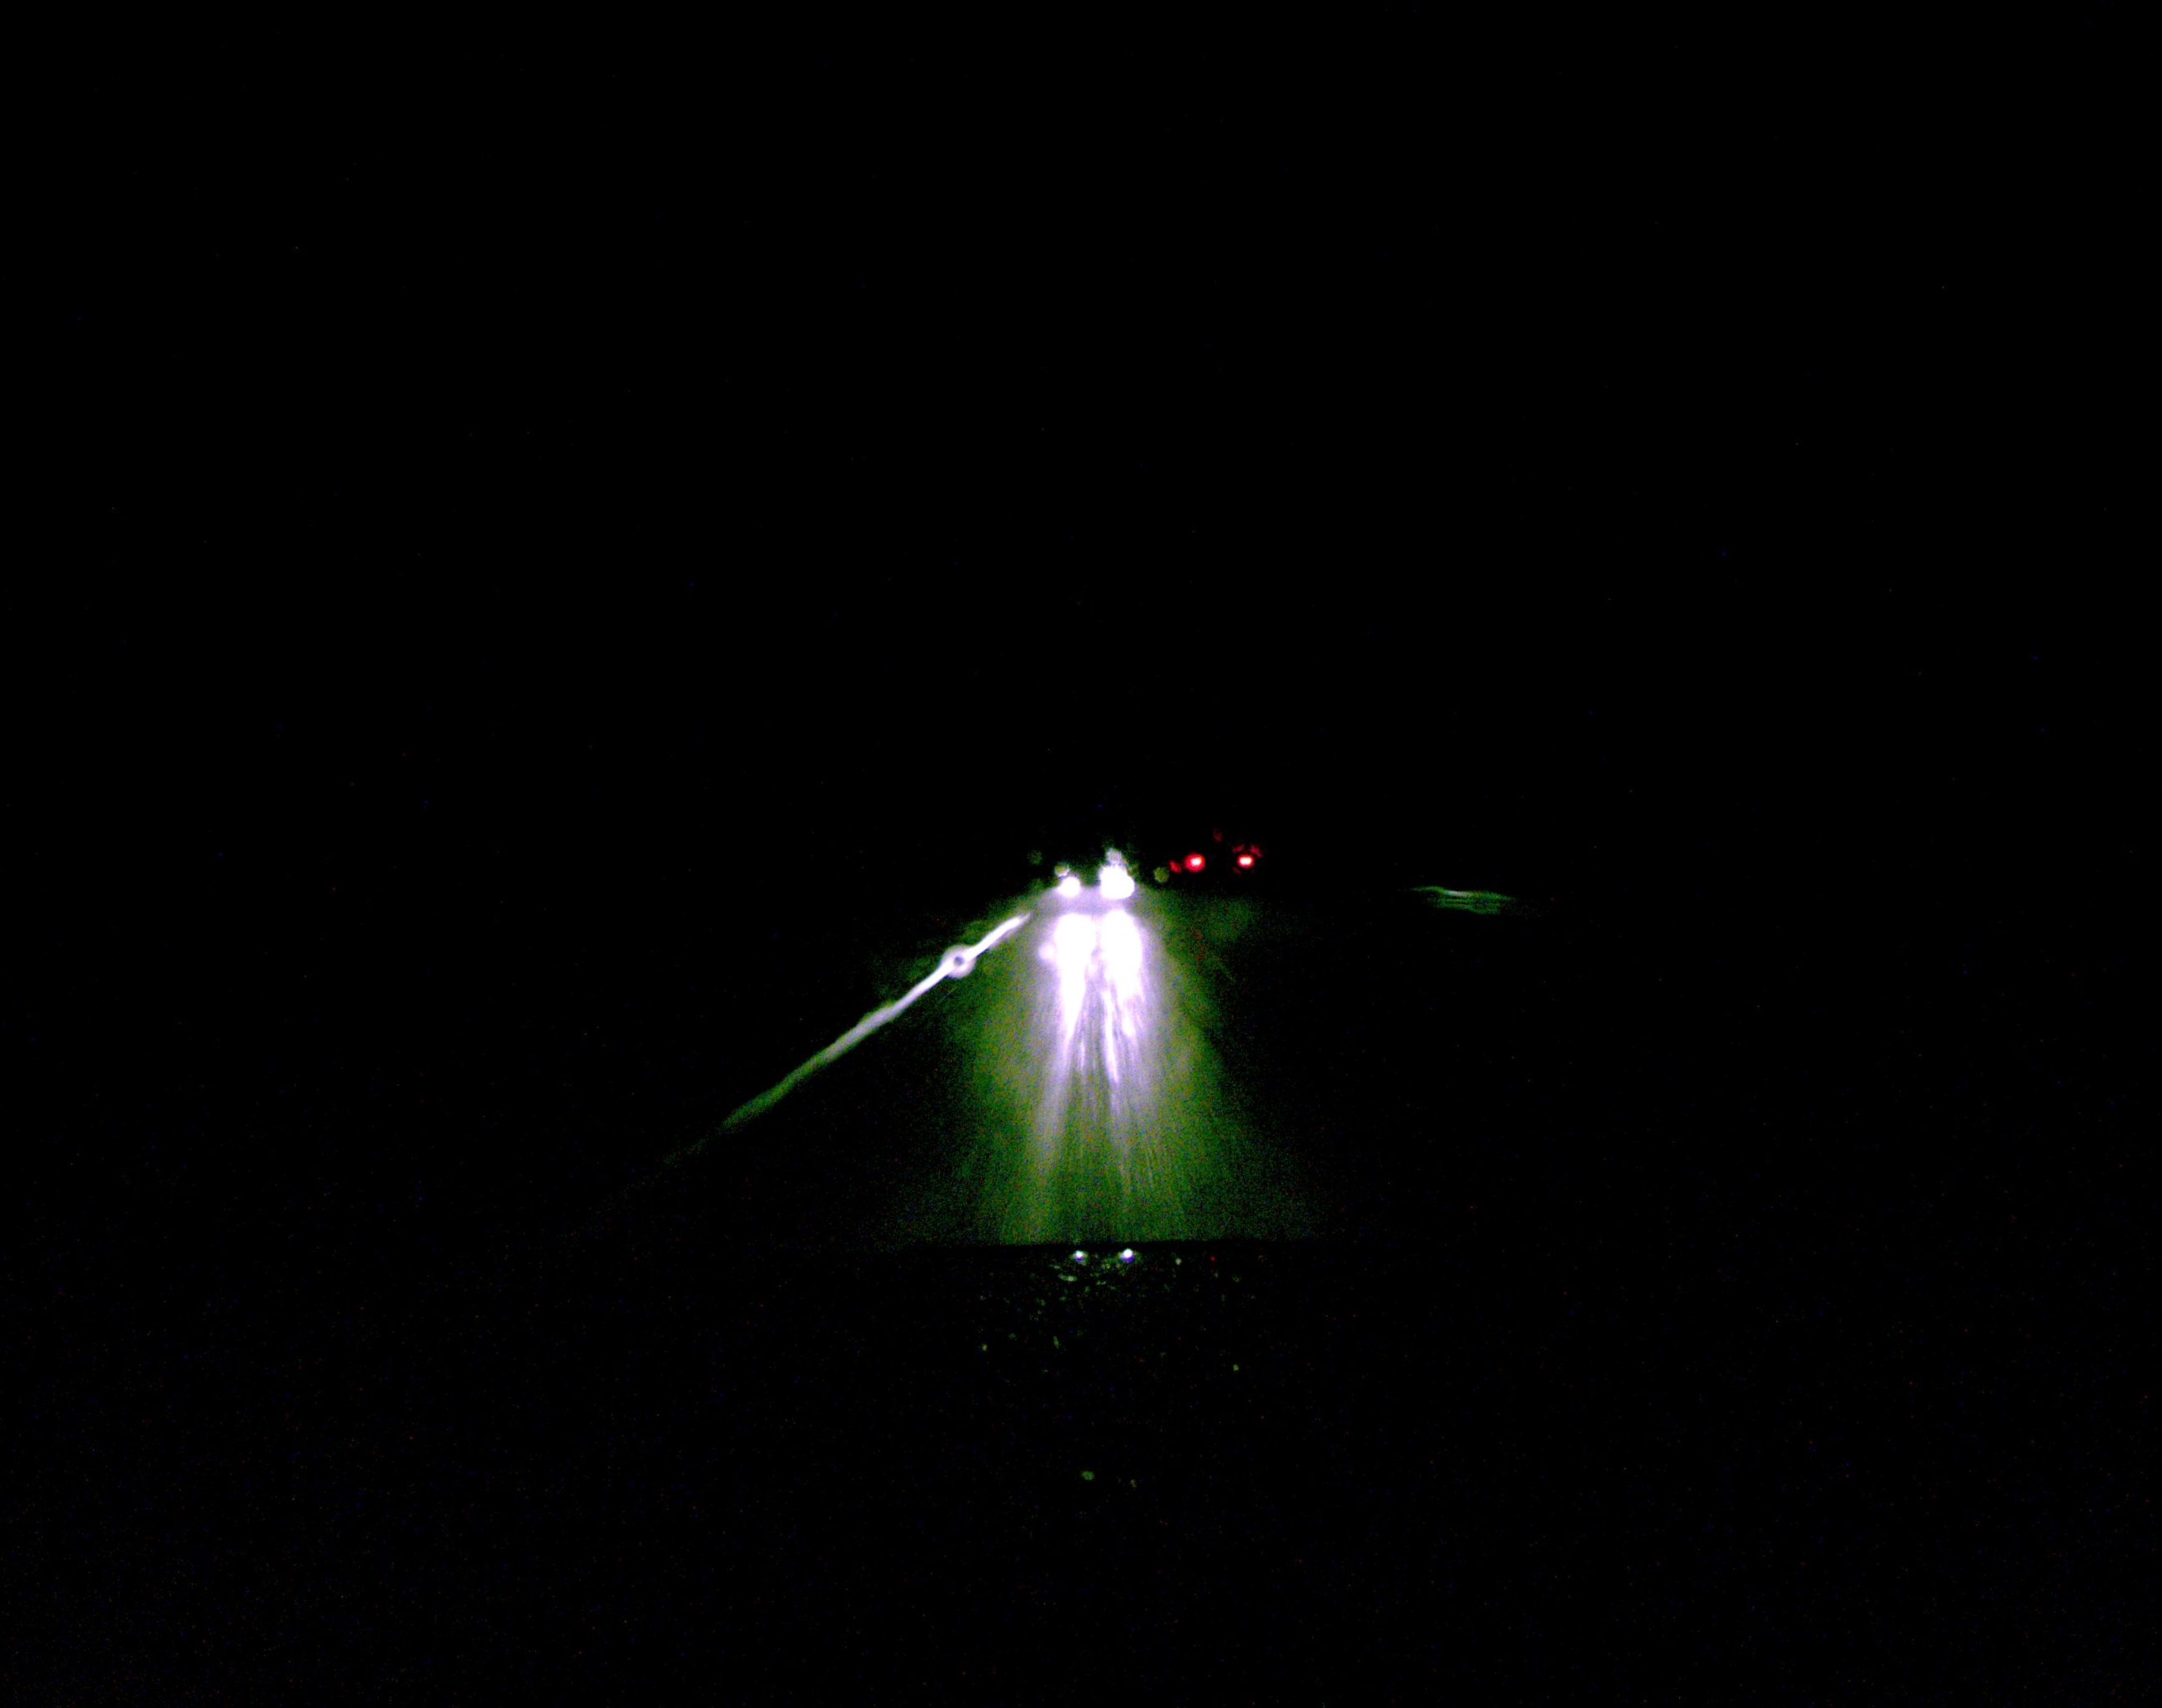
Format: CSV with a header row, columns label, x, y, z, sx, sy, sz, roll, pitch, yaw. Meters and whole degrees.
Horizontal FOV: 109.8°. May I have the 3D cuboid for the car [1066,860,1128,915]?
label,x,y,z,sx,sy,sz,roll,pitch,yaw
car,0.501,1.000,24.298,1.744,1.501,3.600,-4,0,1

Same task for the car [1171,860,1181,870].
label,x,y,z,sx,sy,sz,roll,pitch,yaw
car,15.351,1.795,122.583,1.598,1.501,3.603,0,-1,8

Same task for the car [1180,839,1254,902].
label,x,y,z,sx,sy,sz,roll,pitch,yaw
car,4.657,0.535,26.714,1.998,2.002,4.457,-1,0,3
